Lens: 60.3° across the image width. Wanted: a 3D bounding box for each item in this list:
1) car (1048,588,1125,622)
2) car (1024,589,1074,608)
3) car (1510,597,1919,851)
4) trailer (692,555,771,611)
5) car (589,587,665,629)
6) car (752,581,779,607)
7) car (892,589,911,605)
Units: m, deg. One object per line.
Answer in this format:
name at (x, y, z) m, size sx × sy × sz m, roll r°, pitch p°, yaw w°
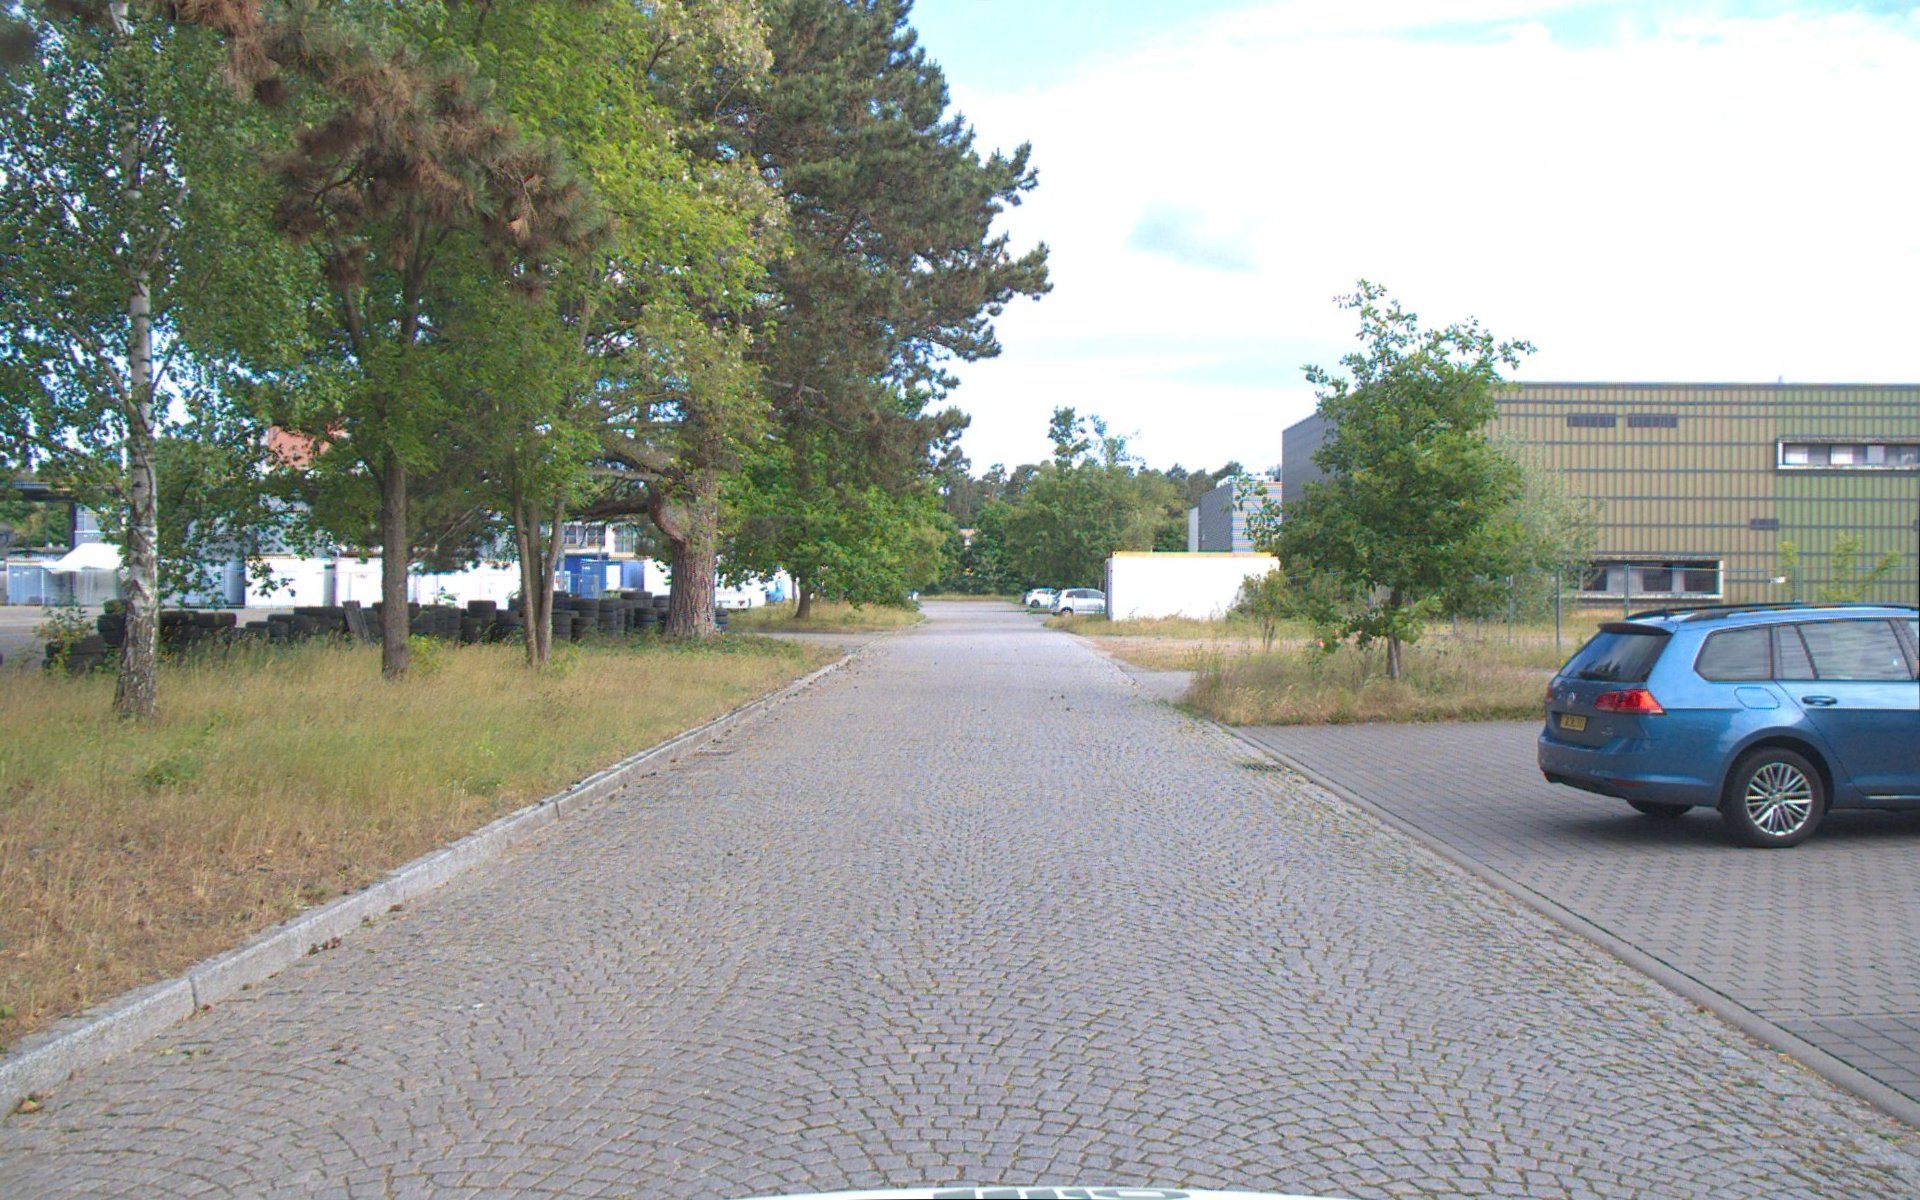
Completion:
car at (6.454, 0.245, 84.757) m, size 3.772 × 1.683 × 1.685 m, roll 0°, pitch 0°, yaw -2°
car at (7.054, -0.126, 130.909) m, size 3.942 × 1.528 × 1.548 m, roll 0°, pitch 0°, yaw 1°
car at (6.265, 0.743, 11.226) m, size 4.431 × 1.468 × 1.822 m, roll -2°, pitch 0°, yaw -3°
trailer at (-13.356, -0.981, 97.536) m, size 3.093 × 3.121 × 8.787 m, roll 0°, pitch 0°, yaw 2°
car at (-12.042, 0.284, 60.076) m, size 1.729 × 1.478 × 3.491 m, roll 0°, pitch 0°, yaw 6°
car at (-16.246, -0.522, 138.248) m, size 1.886 × 2.083 × 4.599 m, roll 0°, pitch 0°, yaw -2°
car at (-5.271, -0.279, 150.034) m, size 1.700 × 1.495 × 4.044 m, roll 0°, pitch 0°, yaw -2°
